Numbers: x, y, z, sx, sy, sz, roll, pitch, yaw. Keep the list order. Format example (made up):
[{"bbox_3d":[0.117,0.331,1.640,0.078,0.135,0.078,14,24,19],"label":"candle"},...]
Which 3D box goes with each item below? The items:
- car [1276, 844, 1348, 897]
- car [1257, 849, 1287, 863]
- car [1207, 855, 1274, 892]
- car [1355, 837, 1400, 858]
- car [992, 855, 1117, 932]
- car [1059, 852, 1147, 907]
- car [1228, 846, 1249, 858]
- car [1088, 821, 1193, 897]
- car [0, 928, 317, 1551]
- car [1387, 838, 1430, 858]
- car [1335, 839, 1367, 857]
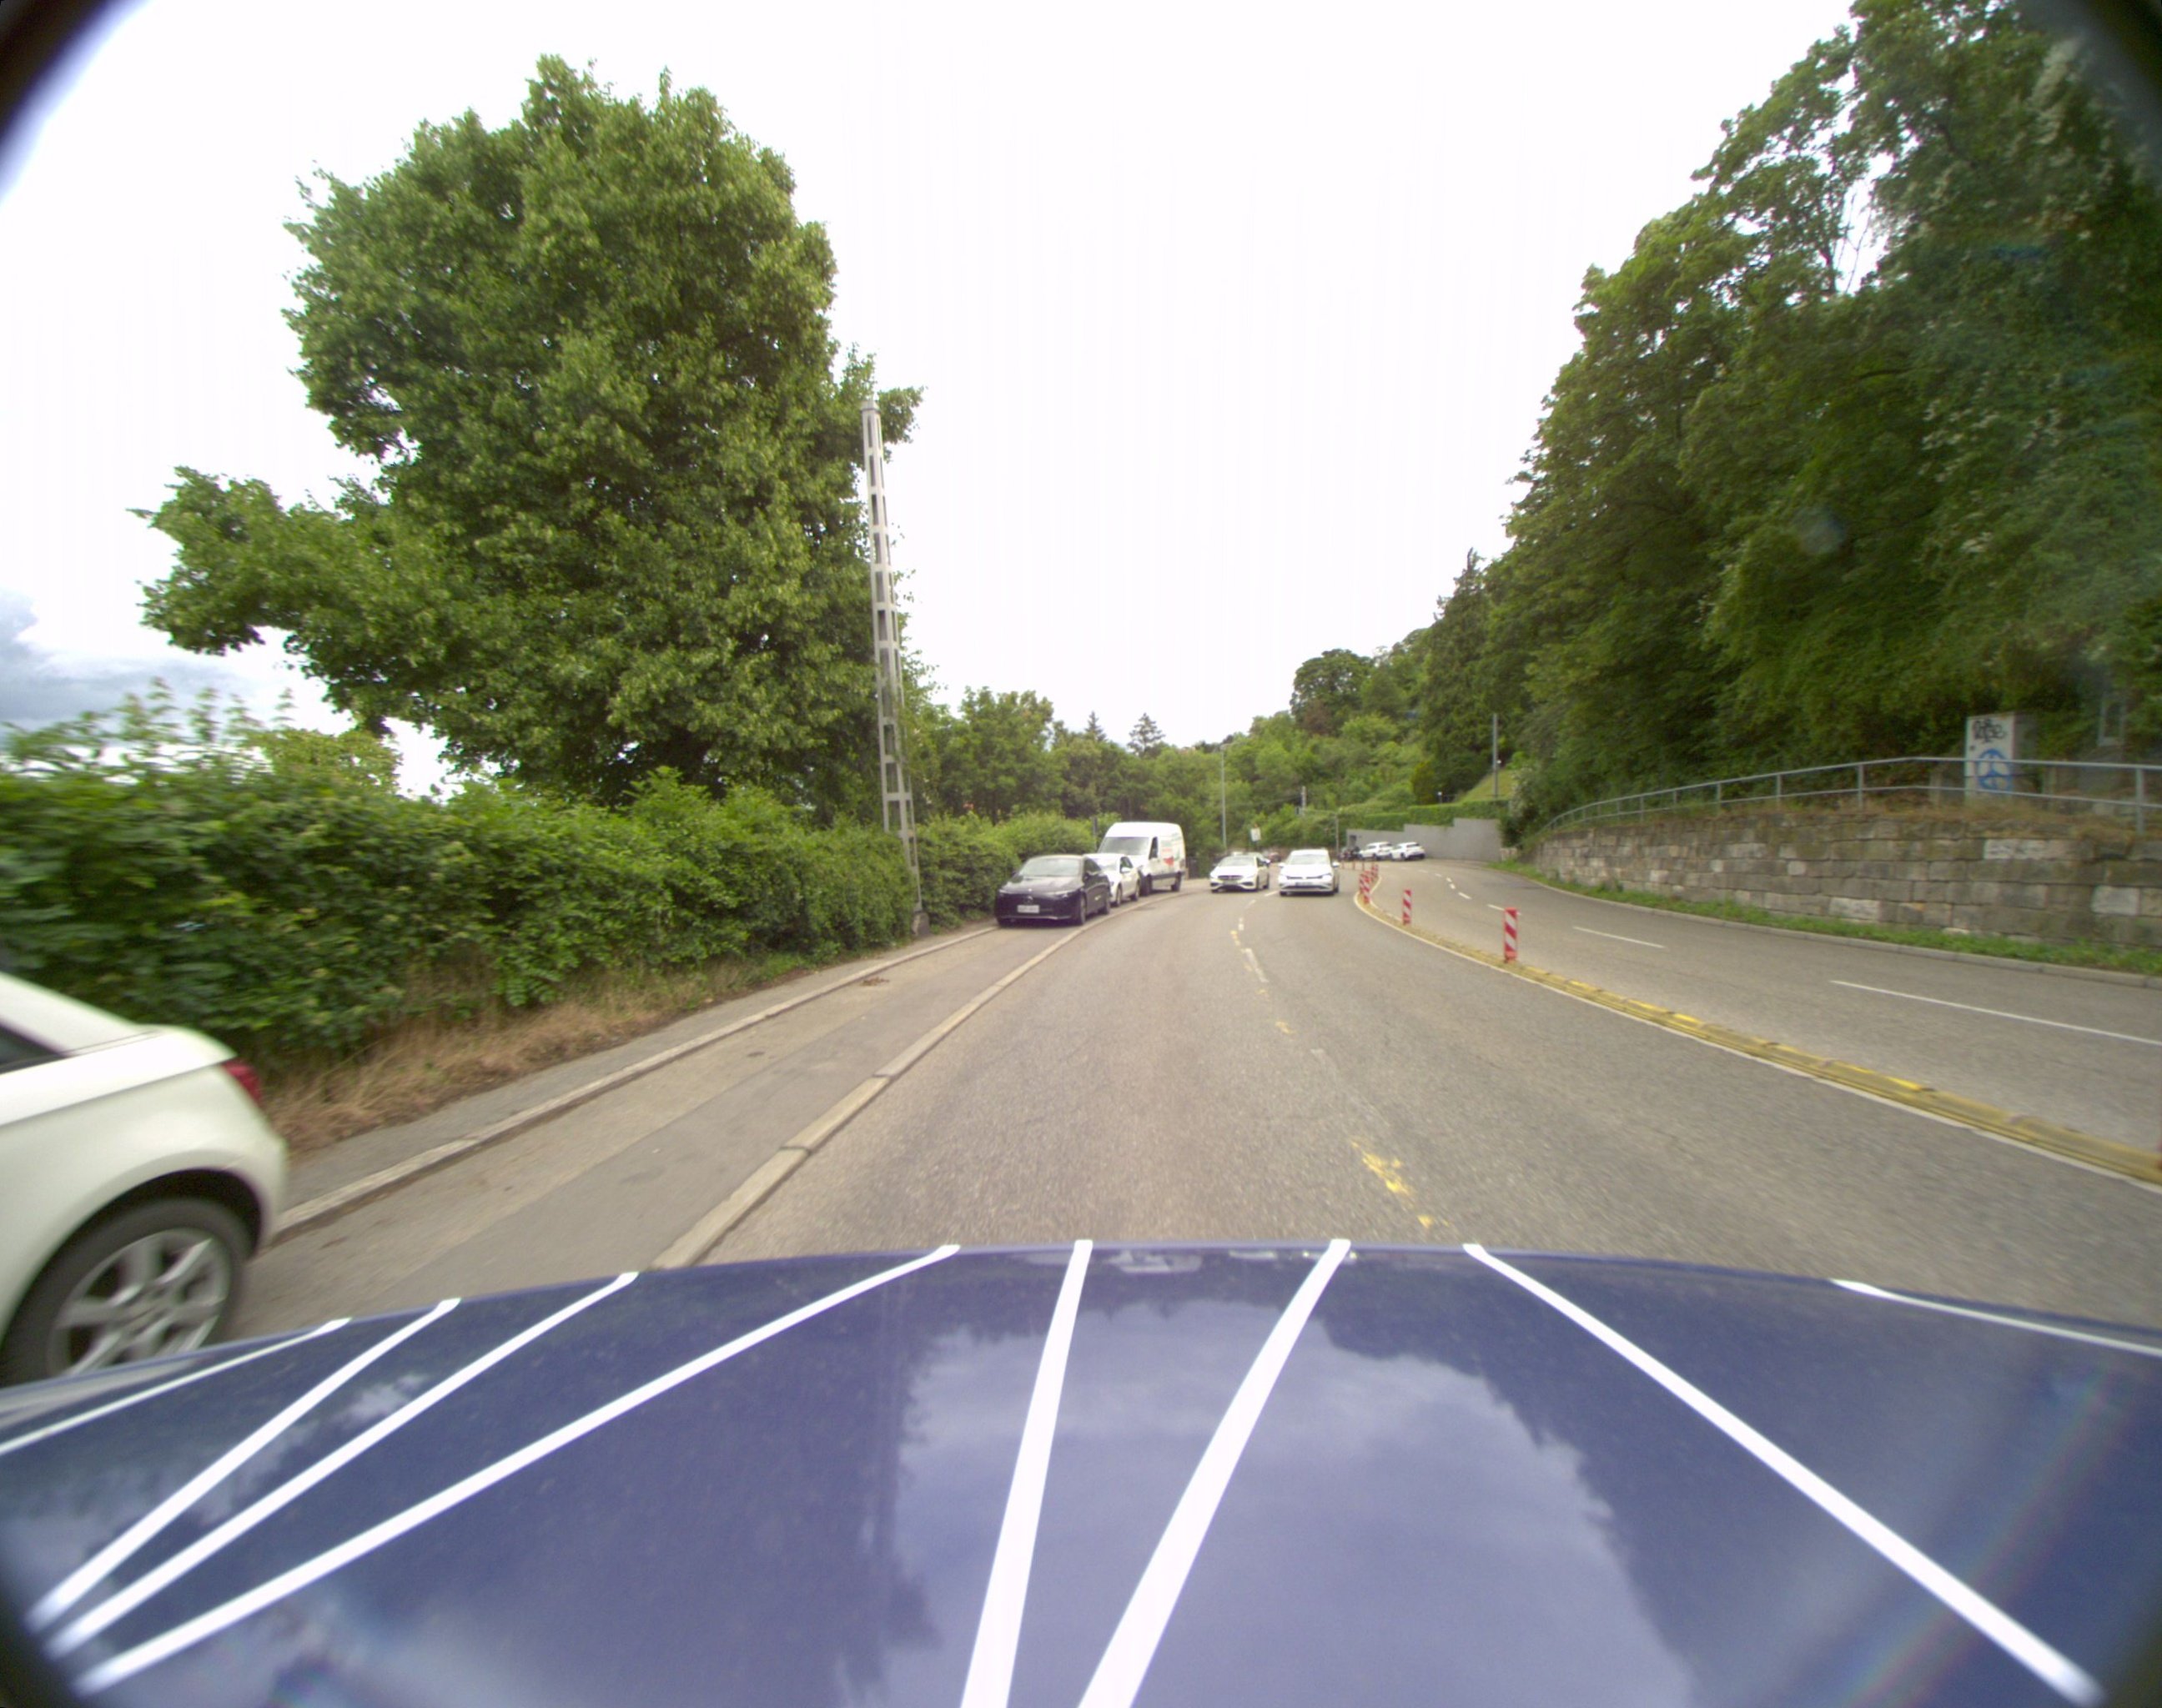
[{"bbox_3d":[8.099,0.514,26.435,1.882,1.569,4.005,-1,2,24],"label":"car"},{"bbox_3d":[23.219,0.197,92.532,1.717,1.588,4.202,-3,1,-12],"label":"car"},{"bbox_3d":[6.434,0.744,30.290,1.795,1.298,4.107,-3,-1,23],"label":"car"},{"bbox_3d":[28.226,-0.600,72.476,1.864,1.721,4.758,-5,1,-6],"label":"car"},{"bbox_3d":[-0.428,0.791,17.214,1.703,1.455,4.668,-1,0,13],"label":"car"},{"bbox_3d":[0.744,0.687,22.453,1.703,1.455,3.839,0,1,16],"label":"car"},{"bbox_3d":[21.498,-0.269,104.000,1.716,1.458,3.659,-4,0,-6],"label":"car"},{"bbox_3d":[2.345,0.115,27.932,2.086,2.509,5.853,1,1,23],"label":"car"},{"bbox_3d":[-3.393,0.980,0.558,1.782,1.410,3.998,0,1,-4],"label":"car"},{"bbox_3d":[28.689,-0.573,66.664,1.837,1.563,4.474,-4,1,1],"label":"car"},{"bbox_3d":[27.476,-0.573,77.406,1.716,1.564,2.956,-6,0,-8],"label":"car"}]
